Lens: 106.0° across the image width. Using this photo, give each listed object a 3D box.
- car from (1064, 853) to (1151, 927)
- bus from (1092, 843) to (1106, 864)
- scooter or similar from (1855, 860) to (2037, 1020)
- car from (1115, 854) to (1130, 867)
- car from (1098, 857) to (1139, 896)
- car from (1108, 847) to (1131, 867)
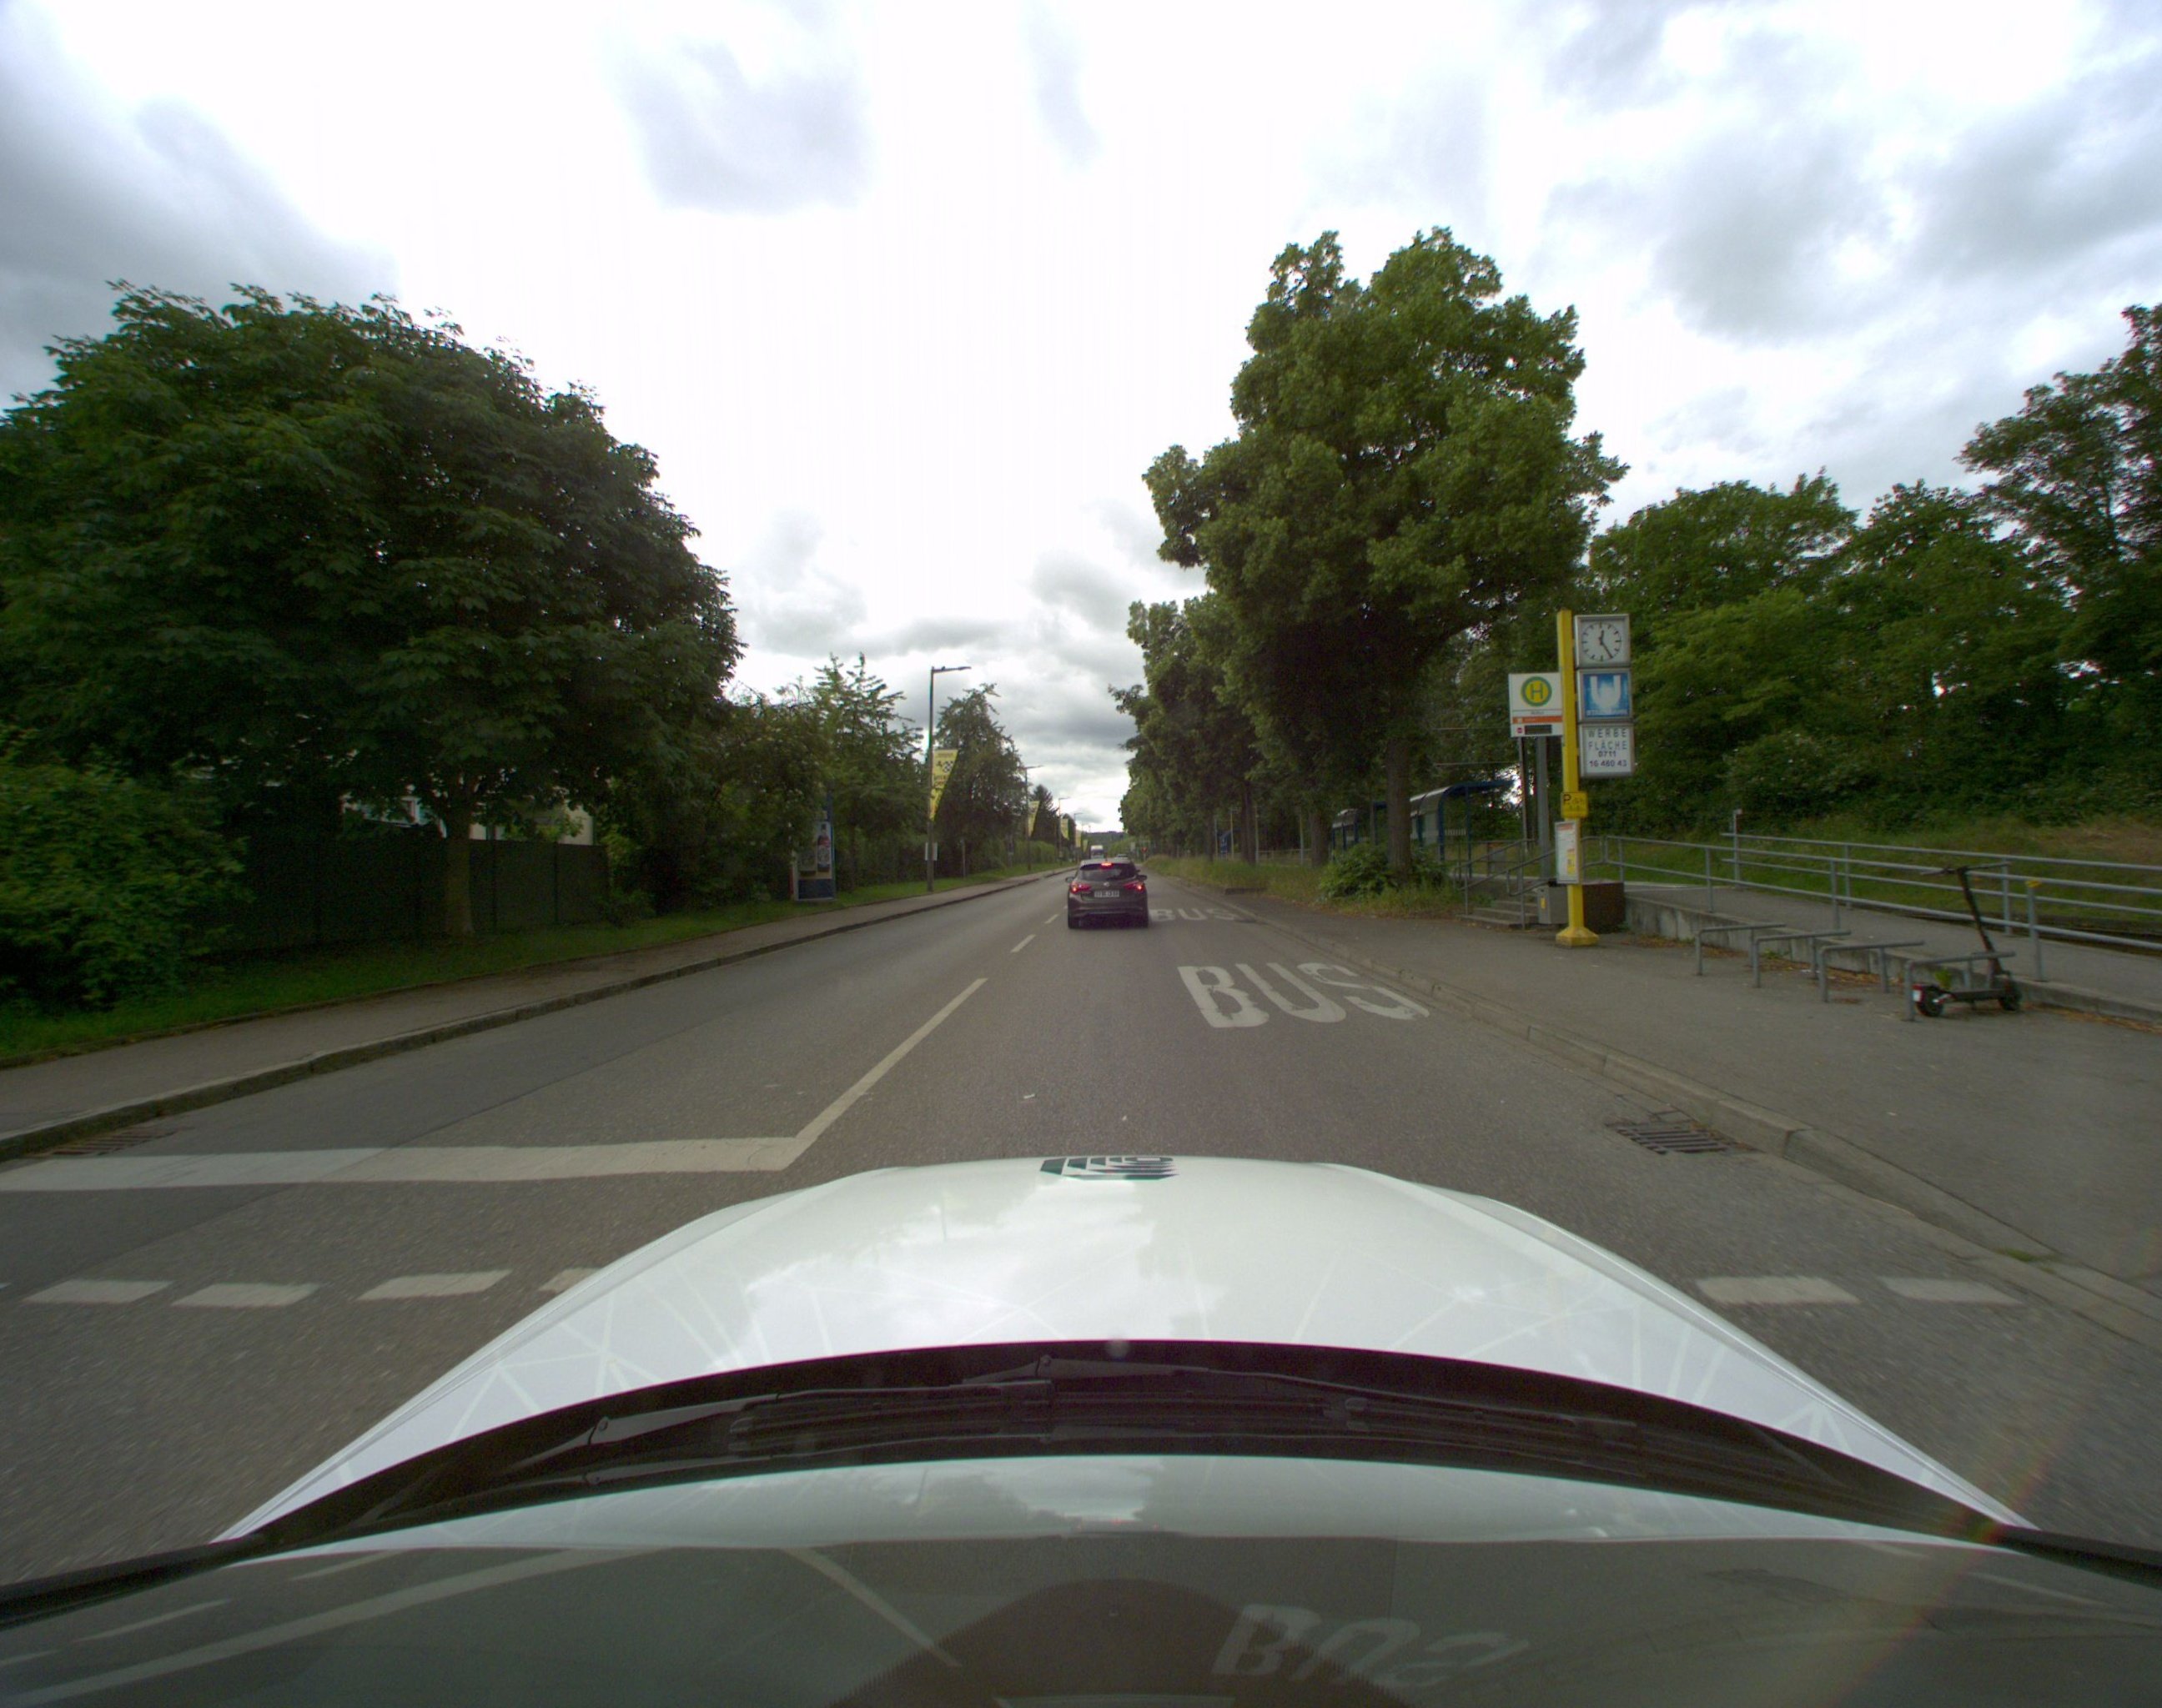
[{"bbox_3d":[0.657,0.782,19.008,1.776,1.507,3.698,-2,-1,3],"label":"car"},{"bbox_3d":[3.633,-0.066,164.869,2.477,4.026,10.223,-2,0,3],"label":"bus"},{"bbox_3d":[7.324,0.681,6.894,1.457,1.243,0.482,-1,-1,-19],"label":"scooter or similar"},{"bbox_3d":[4.852,0.727,95.183,1.685,1.441,3.543,-1,-1,2],"label":"car"},{"bbox_3d":[1.494,0.864,32.633,1.496,1.441,3.543,-1,-1,2],"label":"car"},{"bbox_3d":[2.972,0.254,62.379,1.685,1.441,3.543,-1,-1,2],"label":"car"}]
